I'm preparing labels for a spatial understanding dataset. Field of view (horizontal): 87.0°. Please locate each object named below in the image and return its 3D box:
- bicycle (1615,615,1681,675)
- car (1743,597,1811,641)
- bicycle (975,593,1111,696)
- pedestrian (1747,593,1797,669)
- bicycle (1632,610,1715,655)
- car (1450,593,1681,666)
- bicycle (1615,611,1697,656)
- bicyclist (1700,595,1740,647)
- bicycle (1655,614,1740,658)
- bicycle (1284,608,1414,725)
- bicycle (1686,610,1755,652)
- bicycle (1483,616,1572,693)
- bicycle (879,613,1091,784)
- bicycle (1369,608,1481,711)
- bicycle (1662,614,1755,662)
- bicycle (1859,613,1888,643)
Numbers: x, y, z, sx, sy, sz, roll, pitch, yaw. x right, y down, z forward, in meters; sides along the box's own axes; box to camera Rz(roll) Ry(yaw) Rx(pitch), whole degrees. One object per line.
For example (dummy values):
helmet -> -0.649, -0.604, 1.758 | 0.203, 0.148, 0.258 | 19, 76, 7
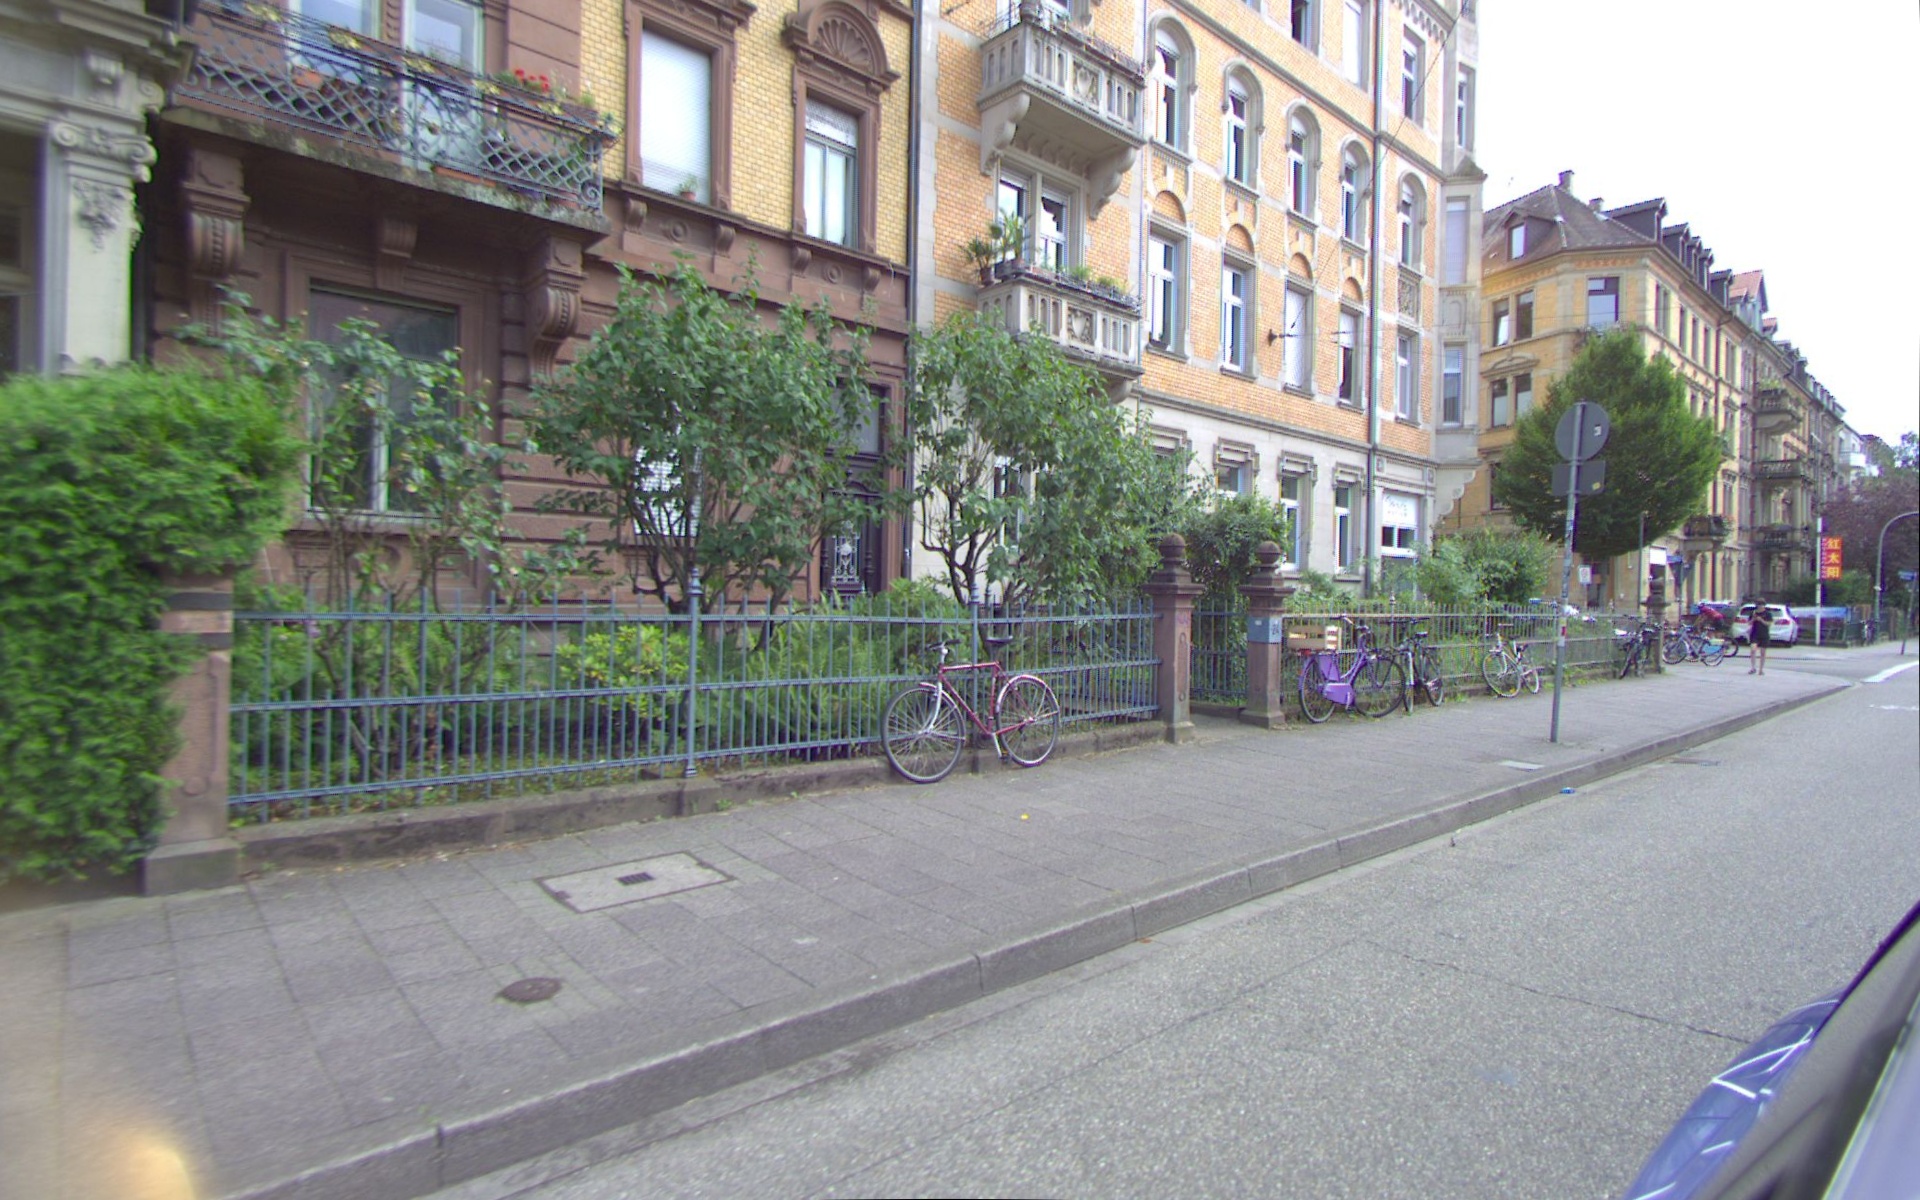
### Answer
bicycle -> 12.625, 0.811, 18.561 | 1.644, 0.994, 0.580 | 0, 4, -43
car -> 30.779, 0.668, 38.097 | 1.751, 1.544, 3.938 | 1, 1, 43
bicycle -> 0.988, 0.502, 12.334 | 0.601, 1.126, 1.669 | 1, 1, -43
pedestrian -> 18.088, 0.674, 22.541 | 0.821, 1.644, 0.731 | 1, 0, -42
bicycle -> 19.669, 0.886, 27.942 | 0.521, 1.142, 1.898 | 1, 1, -20
car -> 13.907, 0.619, 23.444 | 1.672, 1.526, 4.294 | 1, 0, -40
bicycle -> 19.041, 0.891, 27.727 | 0.521, 1.142, 1.898 | 1, 1, -19
bicyclist -> 24.142, 0.675, 32.147 | 0.569, 1.620, 0.859 | 4, -3, -31
bicycle -> 20.653, 0.997, 28.393 | 0.521, 1.142, 1.897 | 1, 1, -25
bicycle -> 4.240, 0.678, 10.986 | 1.644, 1.125, 0.580 | 1, 4, -43
bicycle -> 24.132, 0.980, 32.137 | 0.569, 1.274, 1.673 | 4, -2, -31
bicycle -> 8.278, 0.763, 14.739 | 1.644, 0.994, 0.580 | 0, 4, -43
bicycle -> 0.223, 0.673, 7.581 | 1.644, 1.126, 0.579 | 1, 1, -43
bicycle -> 5.670, 0.685, 12.296 | 1.644, 1.125, 0.580 | 1, 4, -43
bicycle -> 18.888, 0.951, 25.563 | 1.839, 1.127, 0.631 | 1, 0, 2
bicycle -> 36.440, 1.096, 40.369 | 1.841, 1.127, 0.630 | 1, 1, -41
